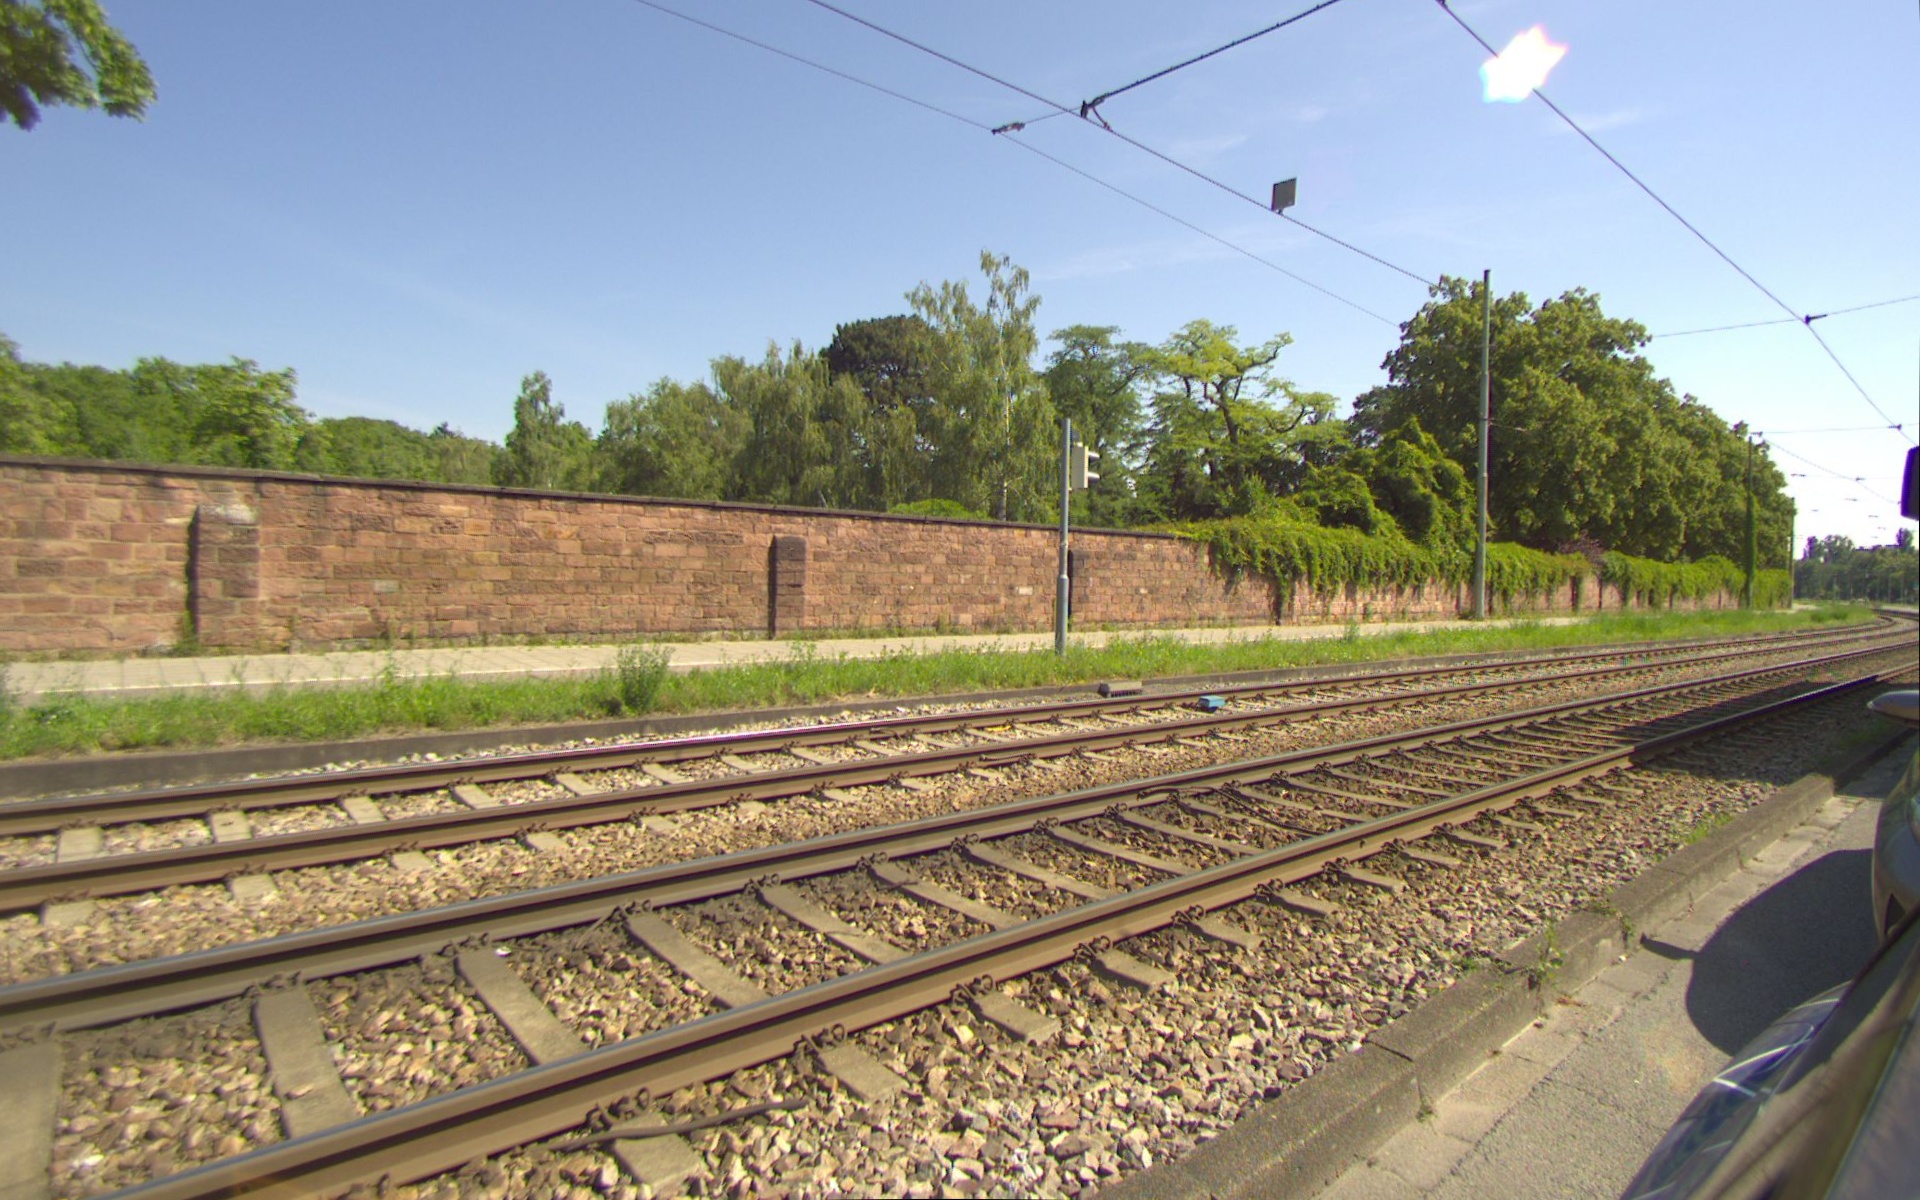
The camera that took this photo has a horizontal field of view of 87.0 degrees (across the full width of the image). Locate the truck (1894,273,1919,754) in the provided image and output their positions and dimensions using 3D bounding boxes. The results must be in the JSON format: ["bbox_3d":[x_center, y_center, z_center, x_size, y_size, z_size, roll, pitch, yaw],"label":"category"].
[{"bbox_3d":[14.248,-0.657,12.014,14.652,3.927,2.934,0,2,-41],"label":"truck"}]

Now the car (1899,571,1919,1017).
[{"bbox_3d":[5.093,0.661,4.001,3.930,1.448,1.573,0,2,-41],"label":"car"}]
